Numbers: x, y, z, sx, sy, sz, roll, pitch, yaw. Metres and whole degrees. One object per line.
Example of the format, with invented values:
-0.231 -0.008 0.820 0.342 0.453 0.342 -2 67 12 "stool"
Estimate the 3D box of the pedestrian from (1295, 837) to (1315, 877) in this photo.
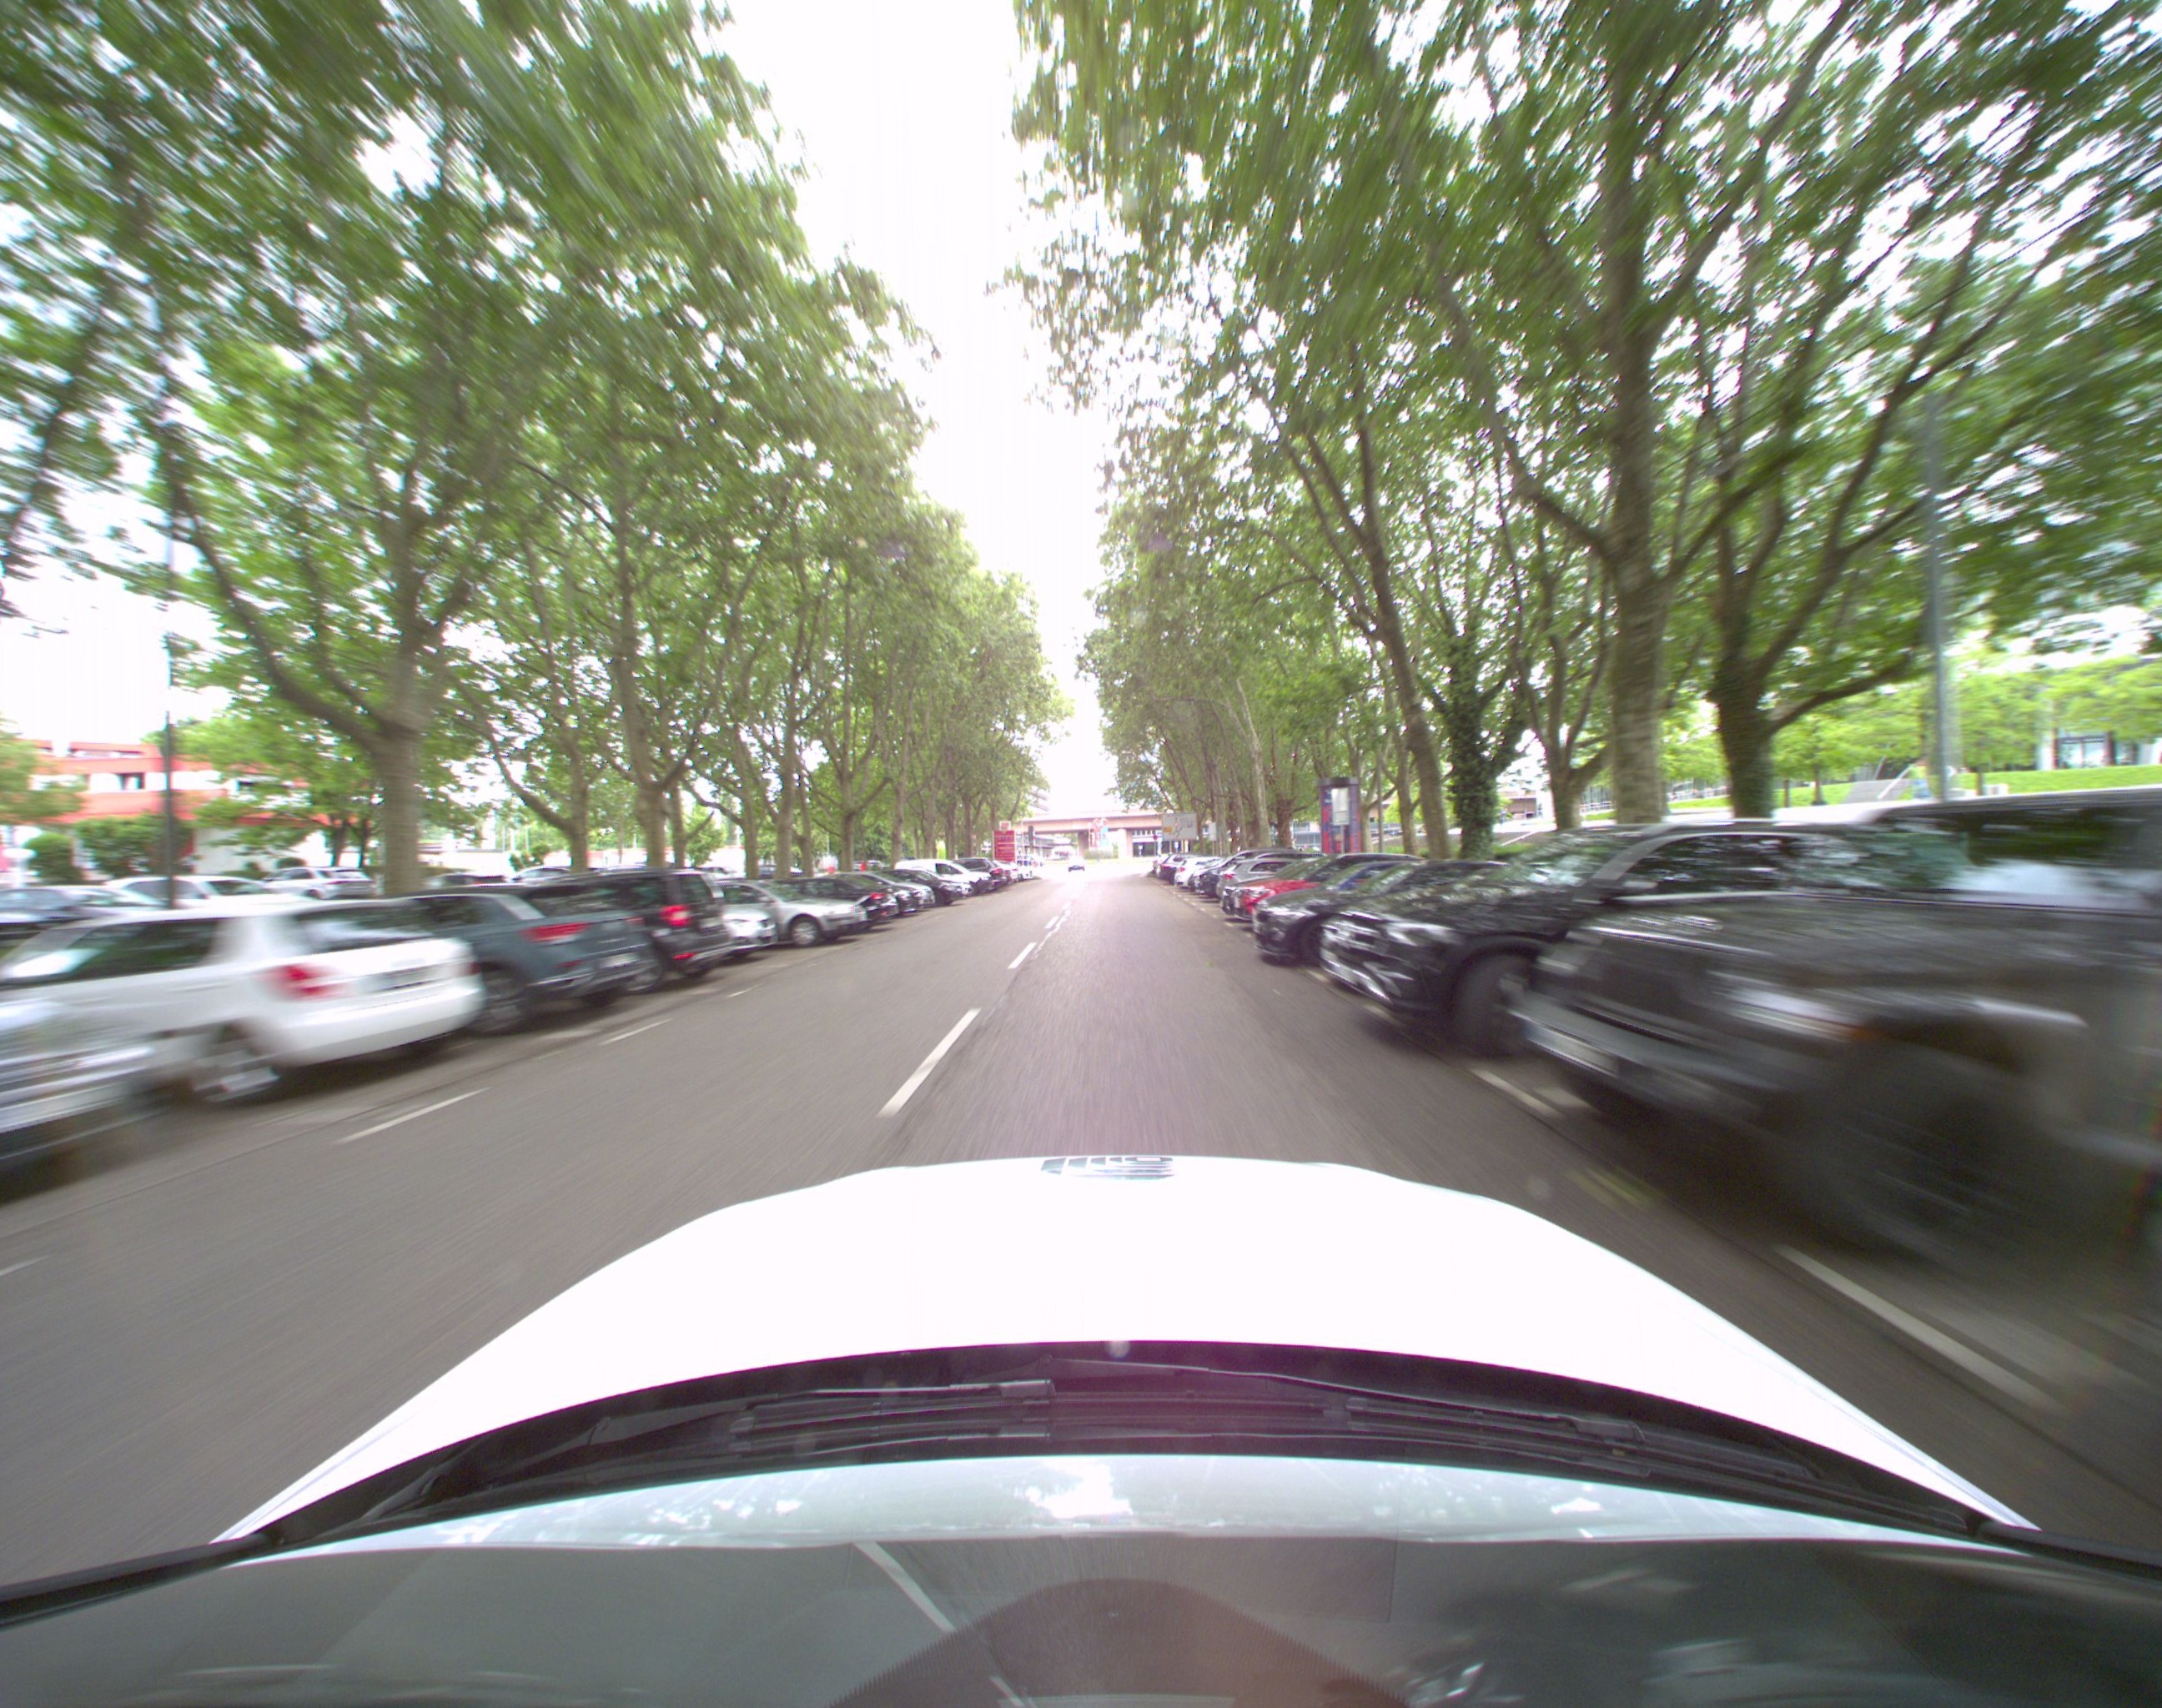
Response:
11.621 0.151 42.192 0.786 2.014 0.596 -1 -1 -15 "pedestrian"

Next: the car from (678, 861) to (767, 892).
-21.108 1.325 48.071 4.305 1.709 2.132 -1 -1 1 "car"

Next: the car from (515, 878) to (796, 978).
-7.393 1.257 14.443 3.917 1.364 1.827 -3 0 0 "car"

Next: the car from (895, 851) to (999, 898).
-6.012 0.901 36.850 4.306 1.810 1.866 -4 0 -2 "car"

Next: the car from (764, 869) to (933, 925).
-6.928 1.263 24.572 4.444 1.347 1.903 -3 0 3 "car"

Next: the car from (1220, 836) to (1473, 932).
5.280 0.550 16.578 4.487 1.796 2.044 0 0 -5 "car"

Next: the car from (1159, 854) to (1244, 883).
6.429 0.770 43.866 4.332 1.456 1.949 0 0 0 "car"

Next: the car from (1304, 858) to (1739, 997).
4.714 0.758 9.198 3.966 1.390 1.741 0 0 3 "car"

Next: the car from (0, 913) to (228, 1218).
-7.344 1.195 4.211 3.980 1.420 1.703 -3 0 0 "car"

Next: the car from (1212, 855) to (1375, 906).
6.124 0.753 23.890 4.329 1.413 1.927 0 0 2 "car"

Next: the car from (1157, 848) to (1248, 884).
6.117 0.596 41.392 4.331 1.761 1.925 0 0 0 "car"

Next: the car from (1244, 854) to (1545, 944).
5.178 0.725 13.956 4.476 1.420 1.830 0 0 3 "car"

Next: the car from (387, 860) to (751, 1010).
-7.027 1.067 11.485 3.917 1.708 1.752 -3 0 0 "car"

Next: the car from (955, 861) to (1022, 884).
-5.887 1.156 52.082 3.972 1.405 1.863 -1 -1 1 "car"

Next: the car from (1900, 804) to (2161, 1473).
4.731 0.658 1.385 4.474 1.572 2.050 0 0 5 "car"

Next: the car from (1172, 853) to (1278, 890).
5.928 0.714 33.814 4.132 1.458 1.728 0 0 2 "car"

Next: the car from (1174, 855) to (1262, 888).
6.065 0.767 36.297 3.629 1.427 1.664 0 0 -1 "car"

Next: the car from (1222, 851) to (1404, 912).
6.060 0.696 21.688 4.331 1.502 1.926 0 0 1 "car"

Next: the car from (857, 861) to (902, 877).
-20.236 1.530 81.907 3.971 1.523 2.003 -1 -1 2 "car"

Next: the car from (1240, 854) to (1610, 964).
4.659 0.725 11.602 4.477 1.428 1.933 0 0 2 "car"

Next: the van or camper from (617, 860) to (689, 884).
-32.608 1.338 62.108 4.305 1.709 2.132 -1 -1 1 "van or camper"

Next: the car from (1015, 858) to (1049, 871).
-7.800 1.672 129.455 4.726 2.014 2.296 -1 -1 23 "car"

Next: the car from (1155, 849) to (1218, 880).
6.899 0.668 53.715 3.971 2.013 2.001 0 0 2 "car"

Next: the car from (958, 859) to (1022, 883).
-6.029 1.109 54.486 3.979 1.493 1.833 -1 -1 1 "car"

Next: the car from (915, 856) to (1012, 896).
-5.636 1.036 39.357 4.301 1.795 2.037 -1 -1 2 "car"

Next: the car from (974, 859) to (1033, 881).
-5.618 1.178 59.422 3.977 1.540 1.806 -1 -1 3 "car"

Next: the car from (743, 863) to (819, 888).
-20.336 1.432 55.337 4.305 1.548 2.204 -1 -1 1 "car"

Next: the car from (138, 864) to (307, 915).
-34.003 1.388 32.346 4.554 1.855 2.301 -1 -1 7 "car"

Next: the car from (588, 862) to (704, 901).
-21.577 1.341 40.569 4.502 1.762 2.297 -1 -1 1 "car"

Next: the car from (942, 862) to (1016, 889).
-5.816 1.226 46.711 3.973 1.404 1.885 -1 -1 0 "car"

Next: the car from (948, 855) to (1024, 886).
-5.687 0.989 49.335 4.250 1.548 1.908 -4 -1 0 "car"

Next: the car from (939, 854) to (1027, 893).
-5.228 1.024 43.807 4.301 1.810 1.868 -4 0 2 "car"

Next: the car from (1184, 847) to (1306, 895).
6.229 0.619 31.288 4.332 1.745 1.837 0 0 0 "car"

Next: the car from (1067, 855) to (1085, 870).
-0.547 0.936 87.183 1.836 1.510 4.015 -1 -1 1 "car"

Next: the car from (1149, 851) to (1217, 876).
6.708 0.619 53.858 4.329 1.633 1.927 0 0 2 "car"

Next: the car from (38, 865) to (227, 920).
-34.416 1.369 29.651 4.554 1.855 2.301 -1 -1 7 "car"

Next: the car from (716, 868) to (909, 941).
-6.284 1.164 19.360 3.917 1.398 1.703 -3 0 0 "car"

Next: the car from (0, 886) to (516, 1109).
-7.439 1.167 7.033 3.972 1.485 1.706 -3 0 6 "car"

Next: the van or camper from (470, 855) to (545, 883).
-44.627 1.147 63.548 1.986 2.014 5.304 -1 -1 1 "van or camper"

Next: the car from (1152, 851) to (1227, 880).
6.488 0.673 49.017 4.329 1.633 1.927 0 0 2 "car"

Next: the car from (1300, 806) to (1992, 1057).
4.357 0.561 6.927 4.479 1.796 2.048 0 0 1 "car"

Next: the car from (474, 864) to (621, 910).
-21.919 1.326 33.618 4.535 1.725 2.297 -1 -1 1 "car"

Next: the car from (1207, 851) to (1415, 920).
5.325 0.702 19.218 4.337 1.502 1.923 0 0 -4 "car"

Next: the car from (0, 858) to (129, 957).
-22.141 1.022 15.691 4.926 1.797 2.182 -1 -1 -1 "car"

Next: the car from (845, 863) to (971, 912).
-6.124 1.171 29.099 3.959 1.421 1.758 -4 0 5 "car"

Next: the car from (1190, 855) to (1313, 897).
5.983 0.759 28.907 4.024 1.380 1.745 0 0 2 "car"

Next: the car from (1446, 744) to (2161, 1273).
4.467 0.524 3.978 4.483 1.866 2.046 0 0 -2 "car"

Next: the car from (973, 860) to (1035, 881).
-5.380 1.161 57.003 3.974 1.385 1.914 -1 -1 5 "car"

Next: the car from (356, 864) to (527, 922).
-22.169 1.321 28.358 4.305 1.861 2.028 -1 -1 1 "car"

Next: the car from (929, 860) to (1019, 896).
-5.444 1.225 41.794 4.111 1.452 2.015 -4 0 3 "car"

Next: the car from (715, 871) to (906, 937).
-7.213 1.309 22.024 4.448 1.366 1.860 -4 0 0 "car"

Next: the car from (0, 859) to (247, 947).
-22.312 1.051 18.232 4.926 1.797 2.182 -1 -1 -1 "car"

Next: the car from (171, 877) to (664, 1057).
-7.042 1.145 8.967 3.917 1.516 1.728 -3 0 0 "car"

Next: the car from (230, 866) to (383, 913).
-32.862 1.467 34.626 4.554 1.855 2.301 -1 -1 7 "car"

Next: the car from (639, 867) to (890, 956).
-6.434 1.147 16.899 4.448 1.482 1.703 -3 0 0 "car"

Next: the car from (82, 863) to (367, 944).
-21.910 1.228 21.012 4.926 1.797 2.182 -2 0 -1 "car"

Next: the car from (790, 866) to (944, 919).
-6.949 1.235 26.768 4.447 1.369 1.880 -3 0 1 "car"

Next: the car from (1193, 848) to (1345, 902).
5.966 0.650 26.282 4.571 1.639 1.874 0 0 3 "car"

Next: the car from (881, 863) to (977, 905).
-6.334 1.218 34.155 3.781 1.472 1.759 -4 0 -9 "car"
